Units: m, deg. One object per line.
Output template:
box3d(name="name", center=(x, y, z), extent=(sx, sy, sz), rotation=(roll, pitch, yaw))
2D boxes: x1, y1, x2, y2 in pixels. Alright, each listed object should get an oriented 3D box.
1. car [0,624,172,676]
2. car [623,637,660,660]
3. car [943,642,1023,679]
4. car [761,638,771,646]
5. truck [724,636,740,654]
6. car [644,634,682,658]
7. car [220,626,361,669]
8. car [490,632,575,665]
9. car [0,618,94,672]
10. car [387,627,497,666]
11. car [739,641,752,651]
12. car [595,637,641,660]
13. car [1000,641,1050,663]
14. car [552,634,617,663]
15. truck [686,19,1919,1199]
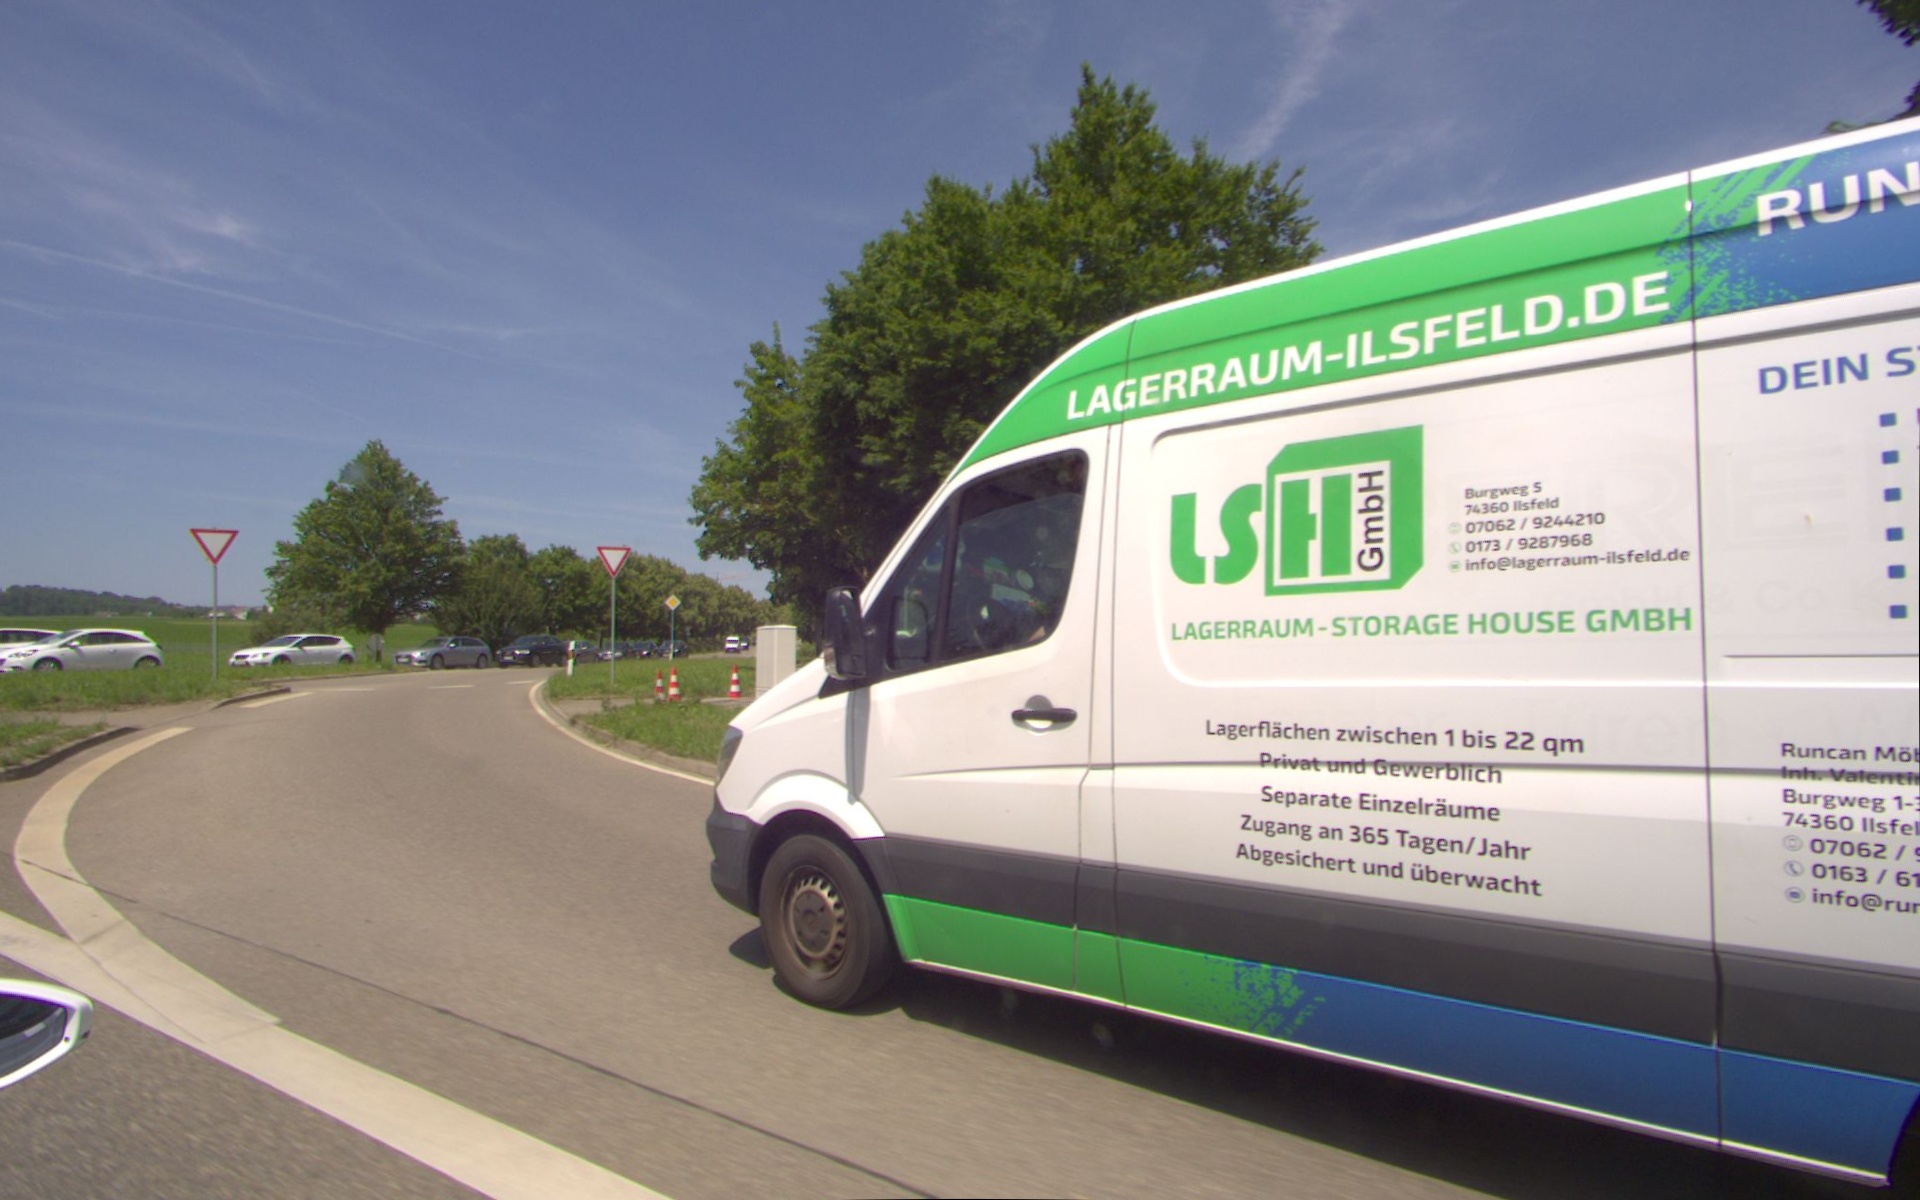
box3d(name="car", center=(-26.206, 1.448, 29.815), extent=(1.798, 1.437, 3.962), rotation=(-2, -2, 24))
box3d(name="car", center=(-21.709, 3.302, 68.297), extent=(1.767, 1.529, 4.233), rotation=(0, -3, -9))
box3d(name="car", center=(0.850, 2.390, 40.030), extent=(1.730, 1.380, 4.312), rotation=(0, -3, -21))
box3d(name="car", center=(-41.856, 9.115, 216.517), extent=(1.962, 1.669, 4.001), rotation=(0, -2, -9))
box3d(name="truck", center=(-34.738, 6.858, 152.663), extent=(1.962, 2.630, 4.000), rotation=(-1, -2, -9))
box3d(name="car", center=(-22.012, 3.439, 74.311), extent=(1.961, 1.719, 4.293), rotation=(-1, -2, -6))
box3d(name="car", center=(-24.178, 1.705, 36.354), extent=(1.768, 1.437, 4.102), rotation=(-2, -2, 16))
box3d(name="car", center=(-20.764, 2.399, 48.892), extent=(1.766, 1.528, 4.566), rotation=(-1, -4, 7))
box3d(name="car", center=(-30.143, 1.415, 31.004), extent=(1.968, 1.627, 4.625), rotation=(-2, -4, 28))
box3d(name="car", center=(-22.064, 2.017, 42.890), extent=(1.767, 1.528, 4.563), rotation=(-1, -3, 10))
box3d(name="car", center=(-37.592, 8.118, 175.323), extent=(1.962, 1.669, 4.001), rotation=(0, -2, -9))
box3d(name="car", center=(-21.105, 3.004, 61.967), extent=(1.766, 1.289, 4.564), rotation=(-1, -3, -6))
box3d(name="car", center=(4.798, 3.886, 74.486), extent=(1.847, 1.578, 4.488), rotation=(0, -3, -24))
box3d(name="car", center=(-20.667, 2.686, 55.332), extent=(1.766, 1.529, 4.565), rotation=(-1, -3, 2))
box3d(name="truck", center=(1.768, 0.290, 3.394), extent=(5.869, 2.771, 2.060), rotation=(-2, -3, 38))
